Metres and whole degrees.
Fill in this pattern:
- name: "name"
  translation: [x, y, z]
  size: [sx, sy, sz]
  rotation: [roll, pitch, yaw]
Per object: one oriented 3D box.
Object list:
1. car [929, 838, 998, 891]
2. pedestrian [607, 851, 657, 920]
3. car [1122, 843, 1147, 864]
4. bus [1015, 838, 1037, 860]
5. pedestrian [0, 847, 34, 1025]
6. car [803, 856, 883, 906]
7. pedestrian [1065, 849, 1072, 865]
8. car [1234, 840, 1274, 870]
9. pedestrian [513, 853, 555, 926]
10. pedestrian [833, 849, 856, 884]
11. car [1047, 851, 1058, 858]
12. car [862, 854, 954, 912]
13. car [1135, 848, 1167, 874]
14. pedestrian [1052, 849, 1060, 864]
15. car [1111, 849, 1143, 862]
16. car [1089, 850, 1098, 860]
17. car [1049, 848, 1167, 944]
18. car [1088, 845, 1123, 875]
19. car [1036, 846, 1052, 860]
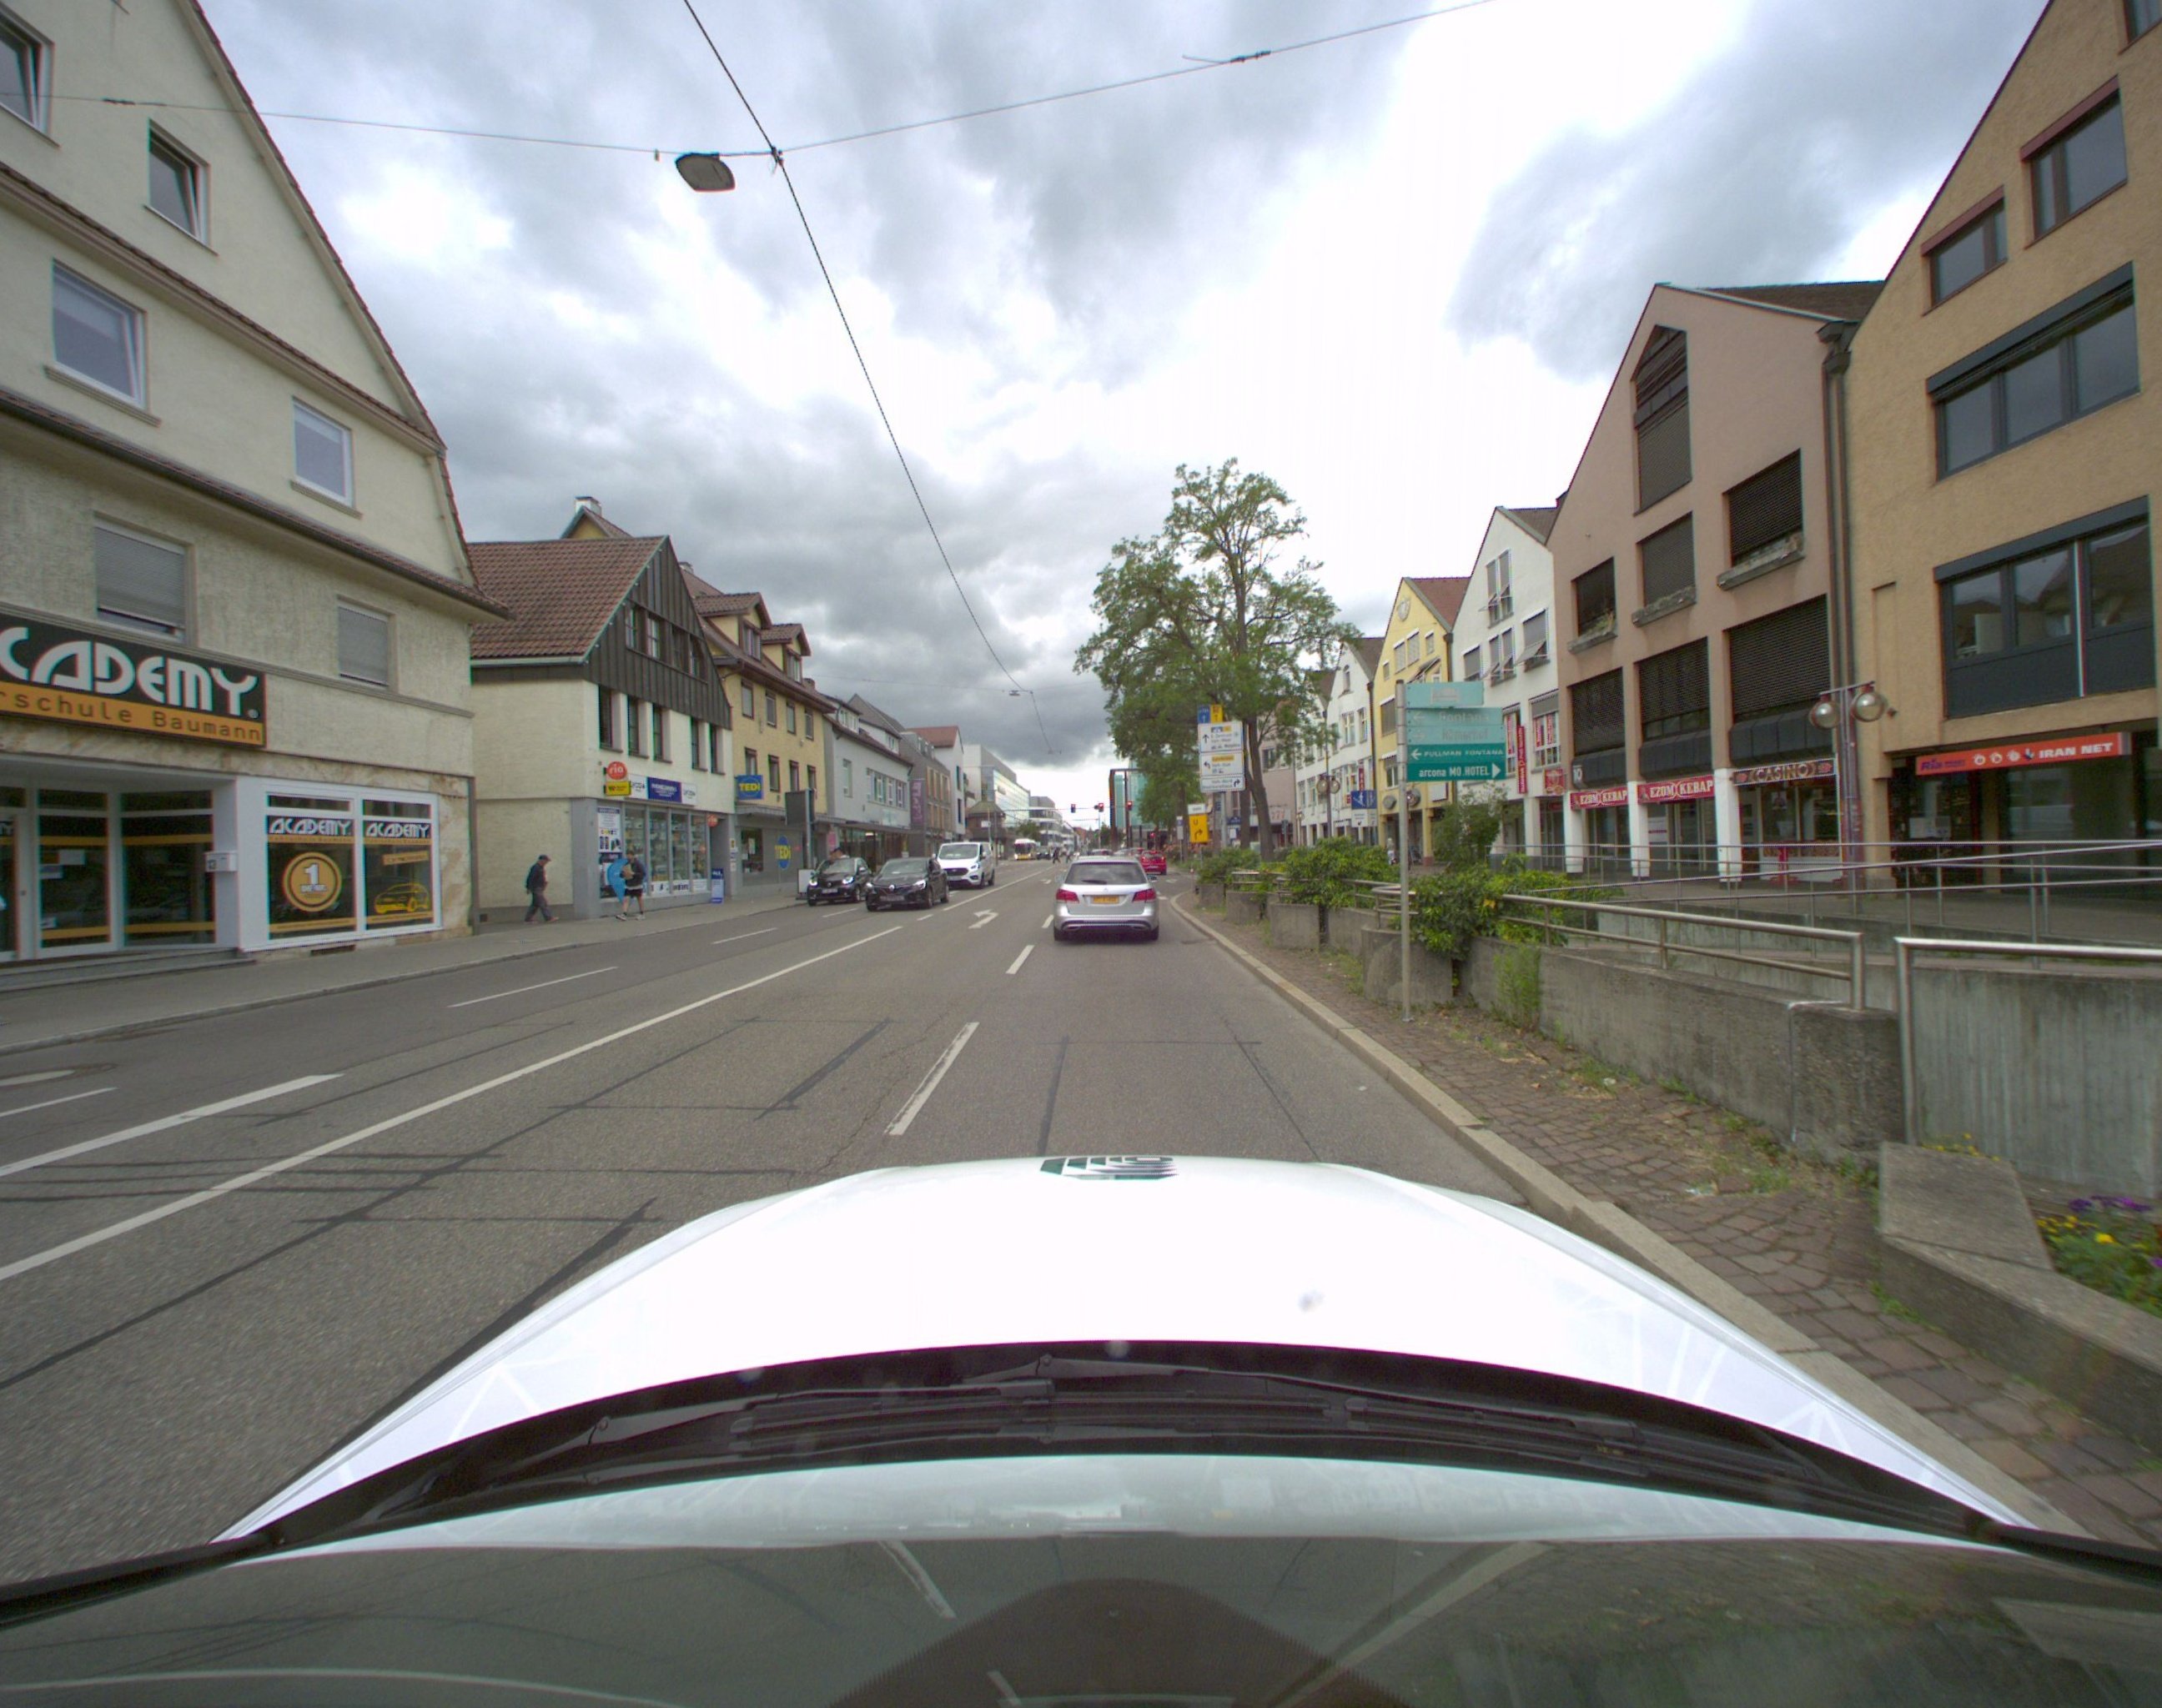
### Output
- name: "car"
  translation: [-4.868, 0.409, 34.569]
  size: [1.954, 1.960, 5.141]
  rotation: [-3, 0, 1]
- name: "pedestrian"
  translation: [-11.748, 0.813, 21.337]
  size: [0.865, 1.746, 0.805]
  rotation: [1, 0, -4]
- name: "car"
  translation: [4.630, -0.035, 71.157]
  size: [1.986, 1.684, 4.002]
  rotation: [-2, 0, 2]
- name: "bus"
  translation: [-8.496, -0.760, 127.328]
  size: [2.765, 3.165, 5.935]
  rotation: [-2, 0, 2]
- name: "pedestrian"
  translation: [-11.370, 0.851, 8.219]
  size: [0.631, 1.824, 0.681]
  rotation: [-3, 0, 1]
- name: "car"
  translation: [-8.158, 0.871, 28.198]
  size: [1.611, 1.523, 3.508]
  rotation: [-3, 0, 1]
- name: "pedestrian"
  translation: [-1.315, 0.306, 86.543]
  size: [0.612, 1.634, 0.586]
  rotation: [1, 0, -8]
- name: "car"
  translation: [11.587, 0.031, 54.721]
  size: [1.860, 1.864, 4.000]
  rotation: [-2, 0, 1]
- name: "pedestrian"
  translation: [-13.518, 0.849, 20.149]
  size: [0.809, 1.746, 0.861]
  rotation: [1, 0, -31]
- name: "pedestrian"
  translation: [-11.060, 0.569, 38.068]
  size: [0.815, 1.634, 0.979]
  rotation: [0, 0, -4]
- name: "car"
  translation: [-4.913, 0.063, 138.846]
  size: [1.569, 1.244, 3.608]
  rotation: [-2, 0, 2]
- name: "car"
  translation: [-4.834, 0.747, 23.273]
  size: [1.611, 1.428, 3.924]
  rotation: [-3, 0, 2]
- name: "car"
  translation: [4.257, 0.410, 49.973]
  size: [1.748, 1.521, 4.001]
  rotation: [0, 0, 1]
- name: "pedestrian"
  translation: [-2.697, 0.240, 88.270]
  size: [0.854, 1.634, 0.588]
  rotation: [1, 0, 3]
- name: "car"
  translation: [5.845, 0.156, 103.561]
  size: [4.084, 1.541, 1.581]
  rotation: [-2, 0, 2]
- name: "car"
  translation: [2.725, 0.197, 178.605]
  size: [1.986, 2.013, 4.001]
  rotation: [-2, 0, 1]
- name: "car"
  translation: [0.425, 0.677, 15.201]
  size: [1.868, 1.506, 3.999]
  rotation: [-1, 0, -1]
- name: "car"
  translation: [1.515, 0.340, 50.029]
  size: [1.986, 1.684, 4.002]
  rotation: [-2, 0, 2]
- name: "car"
  translation: [-5.719, -0.135, 126.039]
  size: [1.986, 2.013, 4.002]
  rotation: [-2, 0, 2]
